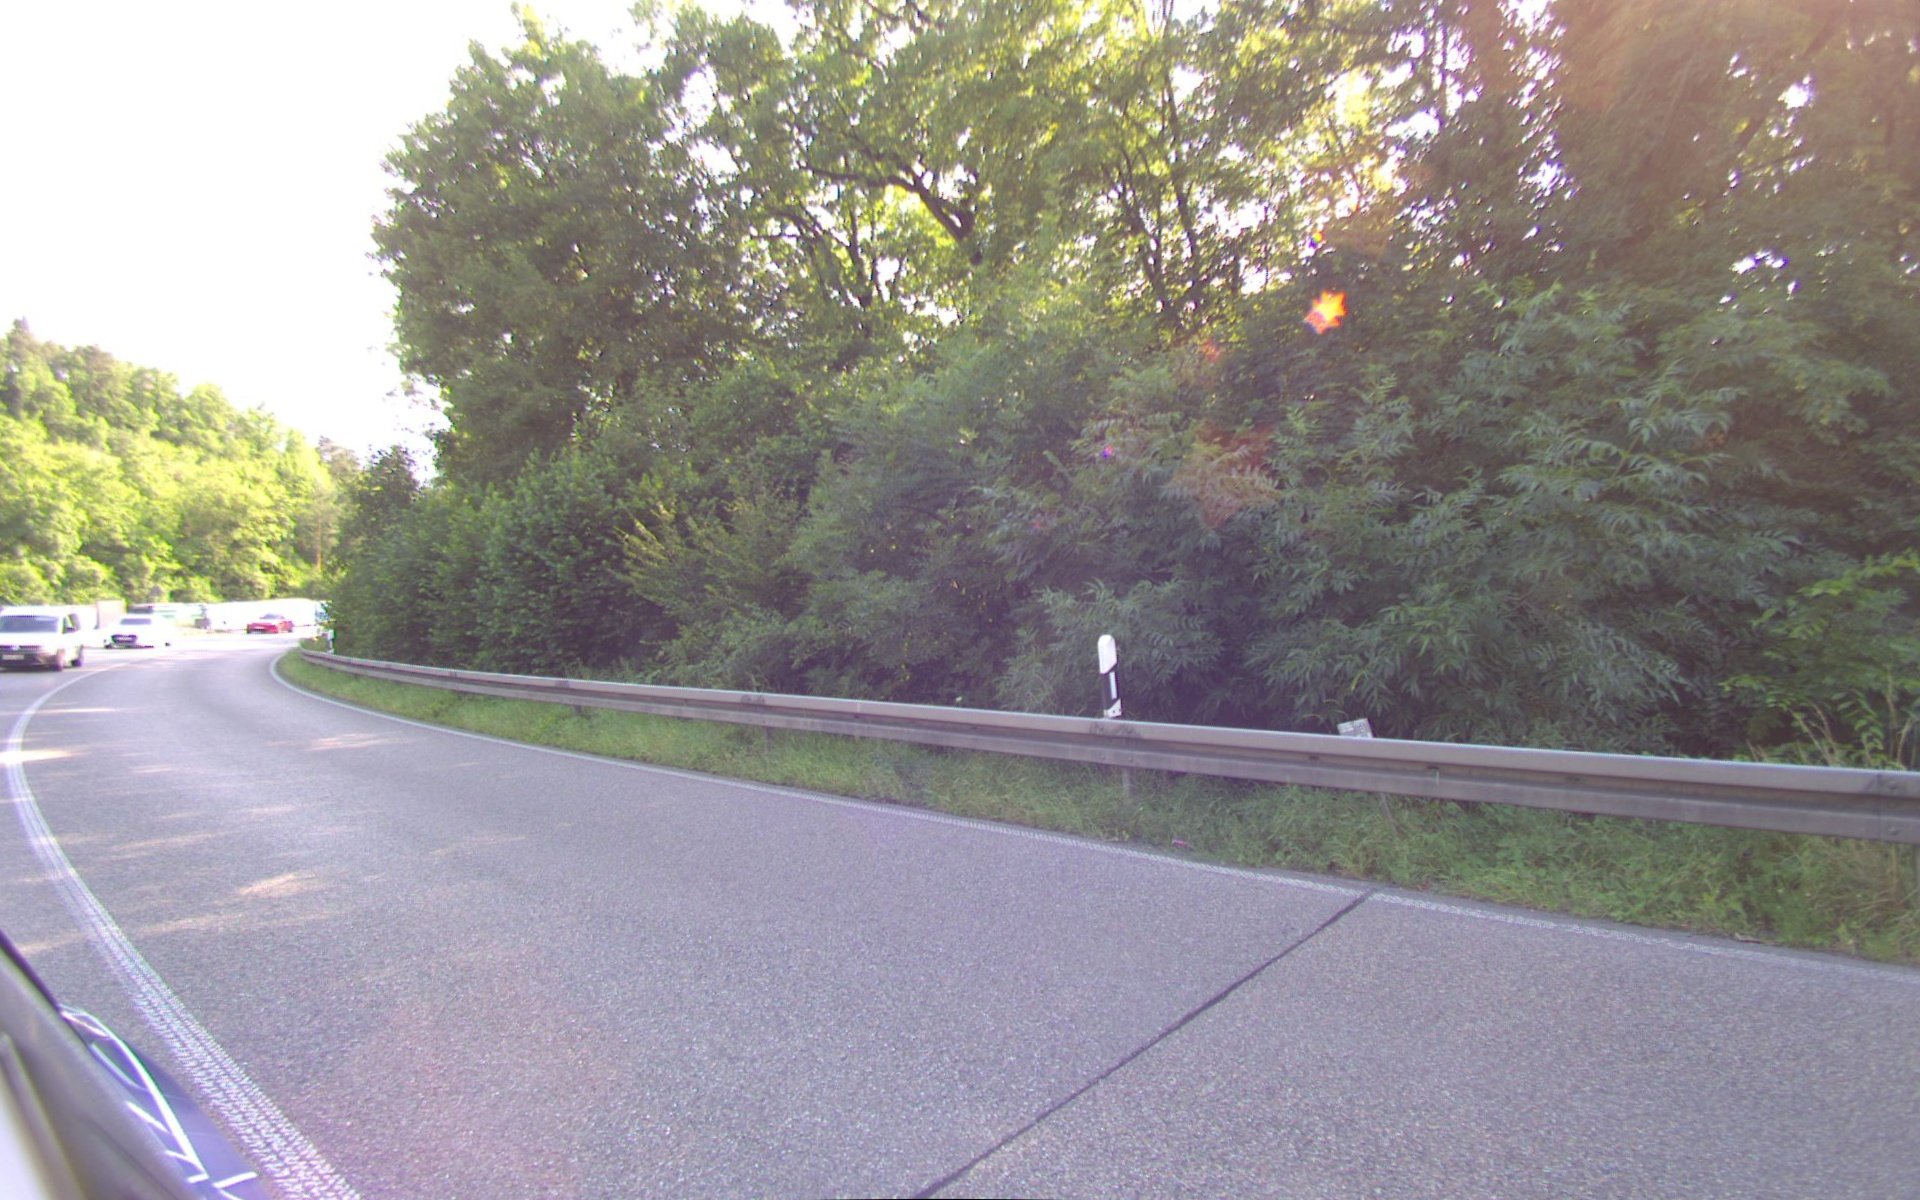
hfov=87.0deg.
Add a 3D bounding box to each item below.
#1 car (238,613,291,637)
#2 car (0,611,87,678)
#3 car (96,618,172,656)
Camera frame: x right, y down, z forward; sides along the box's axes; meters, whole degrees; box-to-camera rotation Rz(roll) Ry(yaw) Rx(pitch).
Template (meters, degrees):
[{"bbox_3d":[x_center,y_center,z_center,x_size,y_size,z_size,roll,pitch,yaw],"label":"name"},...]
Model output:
[{"bbox_3d":[-45.875,1.627,66.855,1.829,1.431,4.434,-3,1,-21],"label":"car"},{"bbox_3d":[-26.566,1.201,28.927,1.838,1.733,4.776,0,0,-34],"label":"car"},{"bbox_3d":[-36.695,1.585,45.062,1.866,1.456,4.489,-3,1,-30],"label":"car"}]
